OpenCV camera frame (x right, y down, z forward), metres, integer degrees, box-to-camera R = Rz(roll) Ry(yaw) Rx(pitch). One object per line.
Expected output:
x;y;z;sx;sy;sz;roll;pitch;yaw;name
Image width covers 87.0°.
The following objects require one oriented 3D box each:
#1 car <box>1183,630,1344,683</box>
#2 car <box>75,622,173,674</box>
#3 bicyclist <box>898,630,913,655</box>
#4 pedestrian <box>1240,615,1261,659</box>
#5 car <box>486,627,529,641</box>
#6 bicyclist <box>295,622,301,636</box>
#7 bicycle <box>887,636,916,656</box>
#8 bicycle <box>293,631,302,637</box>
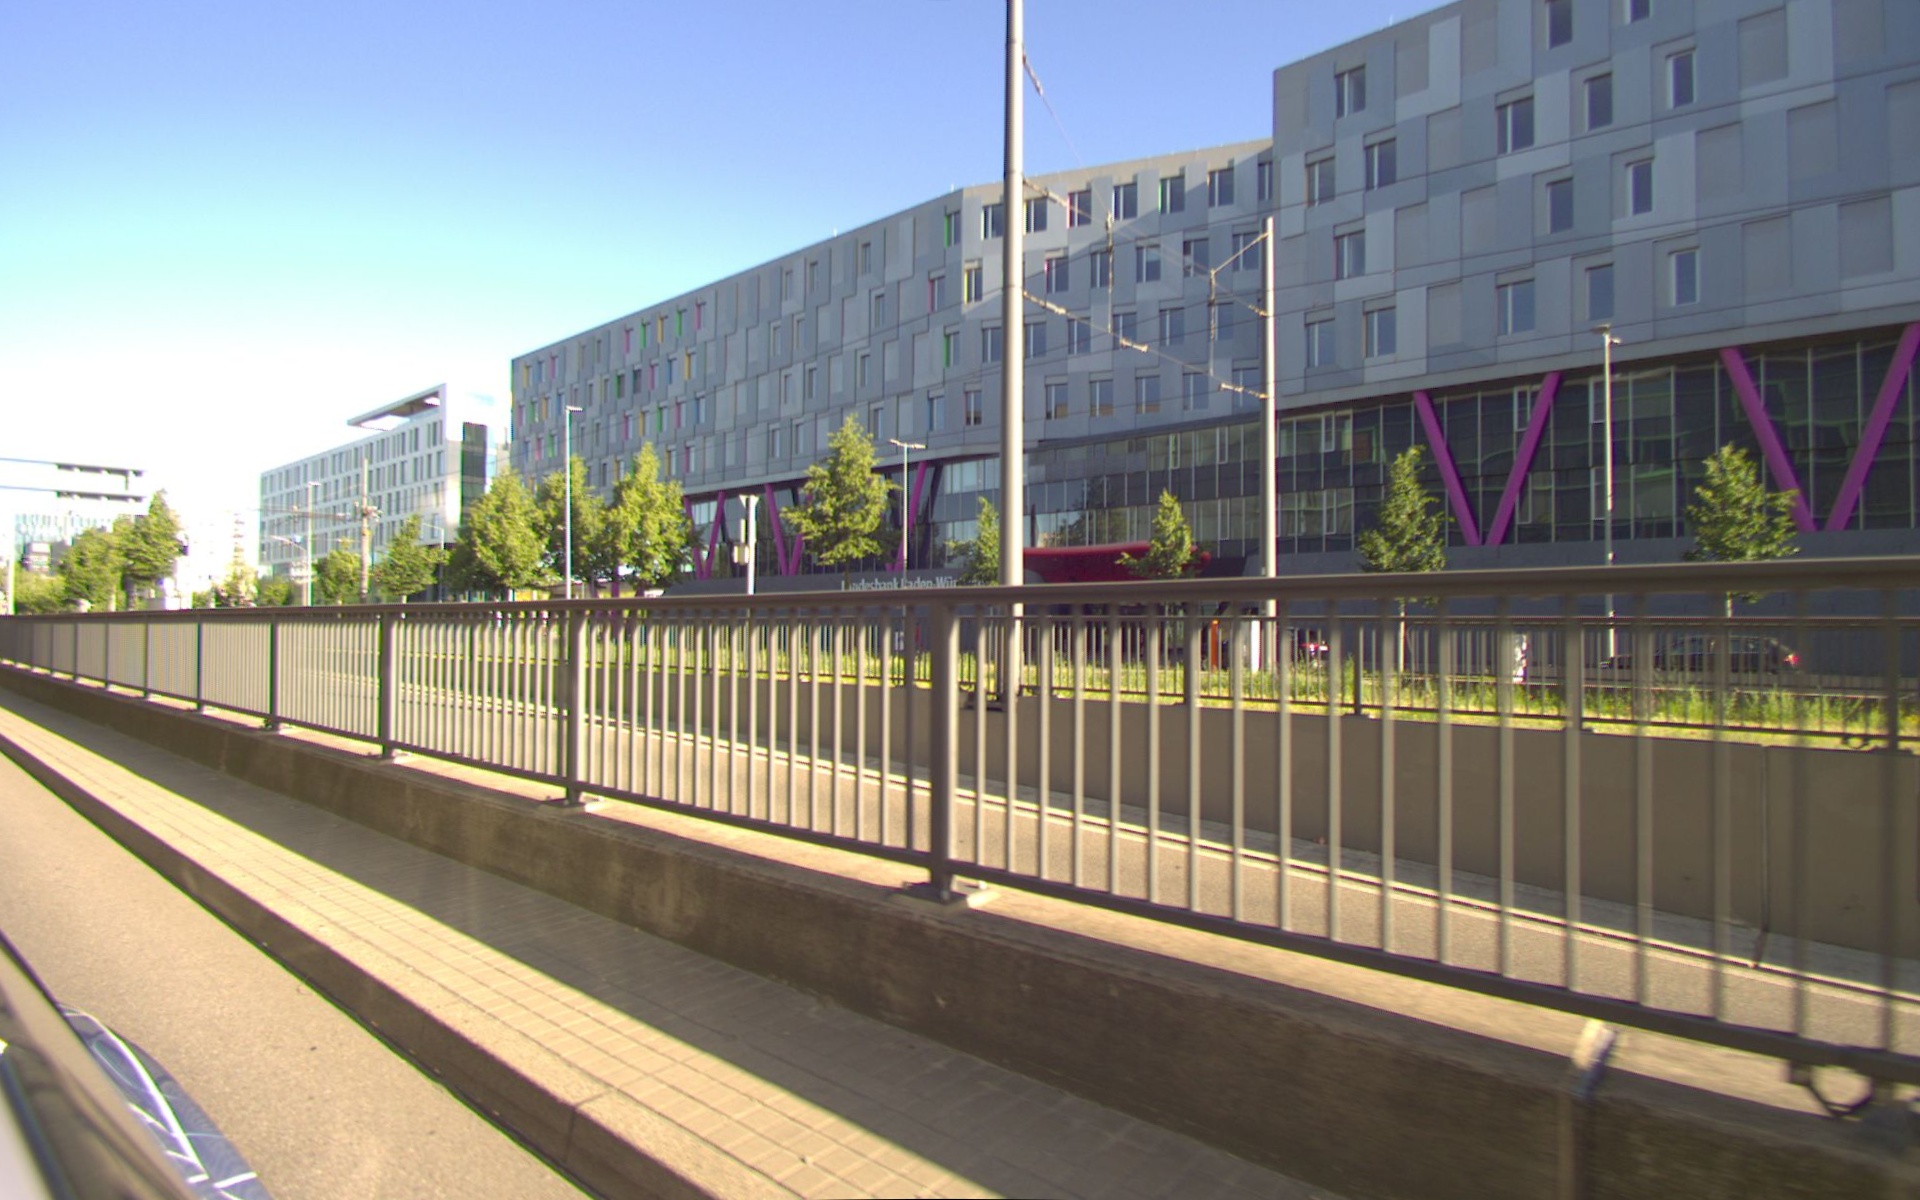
9.847;1.793;33.090;4.719;1.538;1.779;-2;-1;43;car
-27.501;1.538;33.247;4.341;1.538;1.780;-2;-1;41;car
-3.297;2.582;61.065;0.763;1.507;0.552;-2;-3;42;bicyclist
13.519;1.722;47.160;0.689;2.029;0.728;-1;-2;42;pedestrian
-50.444;3.799;112.946;2.001;1.577;3.941;-2;-3;44;car
-86.301;3.804;131.935;0.837;1.739;0.524;-2;-3;43;bicyclist
-3.537;2.738;60.790;1.975;1.181;0.514;-2;-3;42;bicycle
-86.387;4.430;131.985;1.834;0.869;0.522;-2;-3;43;bicycle
